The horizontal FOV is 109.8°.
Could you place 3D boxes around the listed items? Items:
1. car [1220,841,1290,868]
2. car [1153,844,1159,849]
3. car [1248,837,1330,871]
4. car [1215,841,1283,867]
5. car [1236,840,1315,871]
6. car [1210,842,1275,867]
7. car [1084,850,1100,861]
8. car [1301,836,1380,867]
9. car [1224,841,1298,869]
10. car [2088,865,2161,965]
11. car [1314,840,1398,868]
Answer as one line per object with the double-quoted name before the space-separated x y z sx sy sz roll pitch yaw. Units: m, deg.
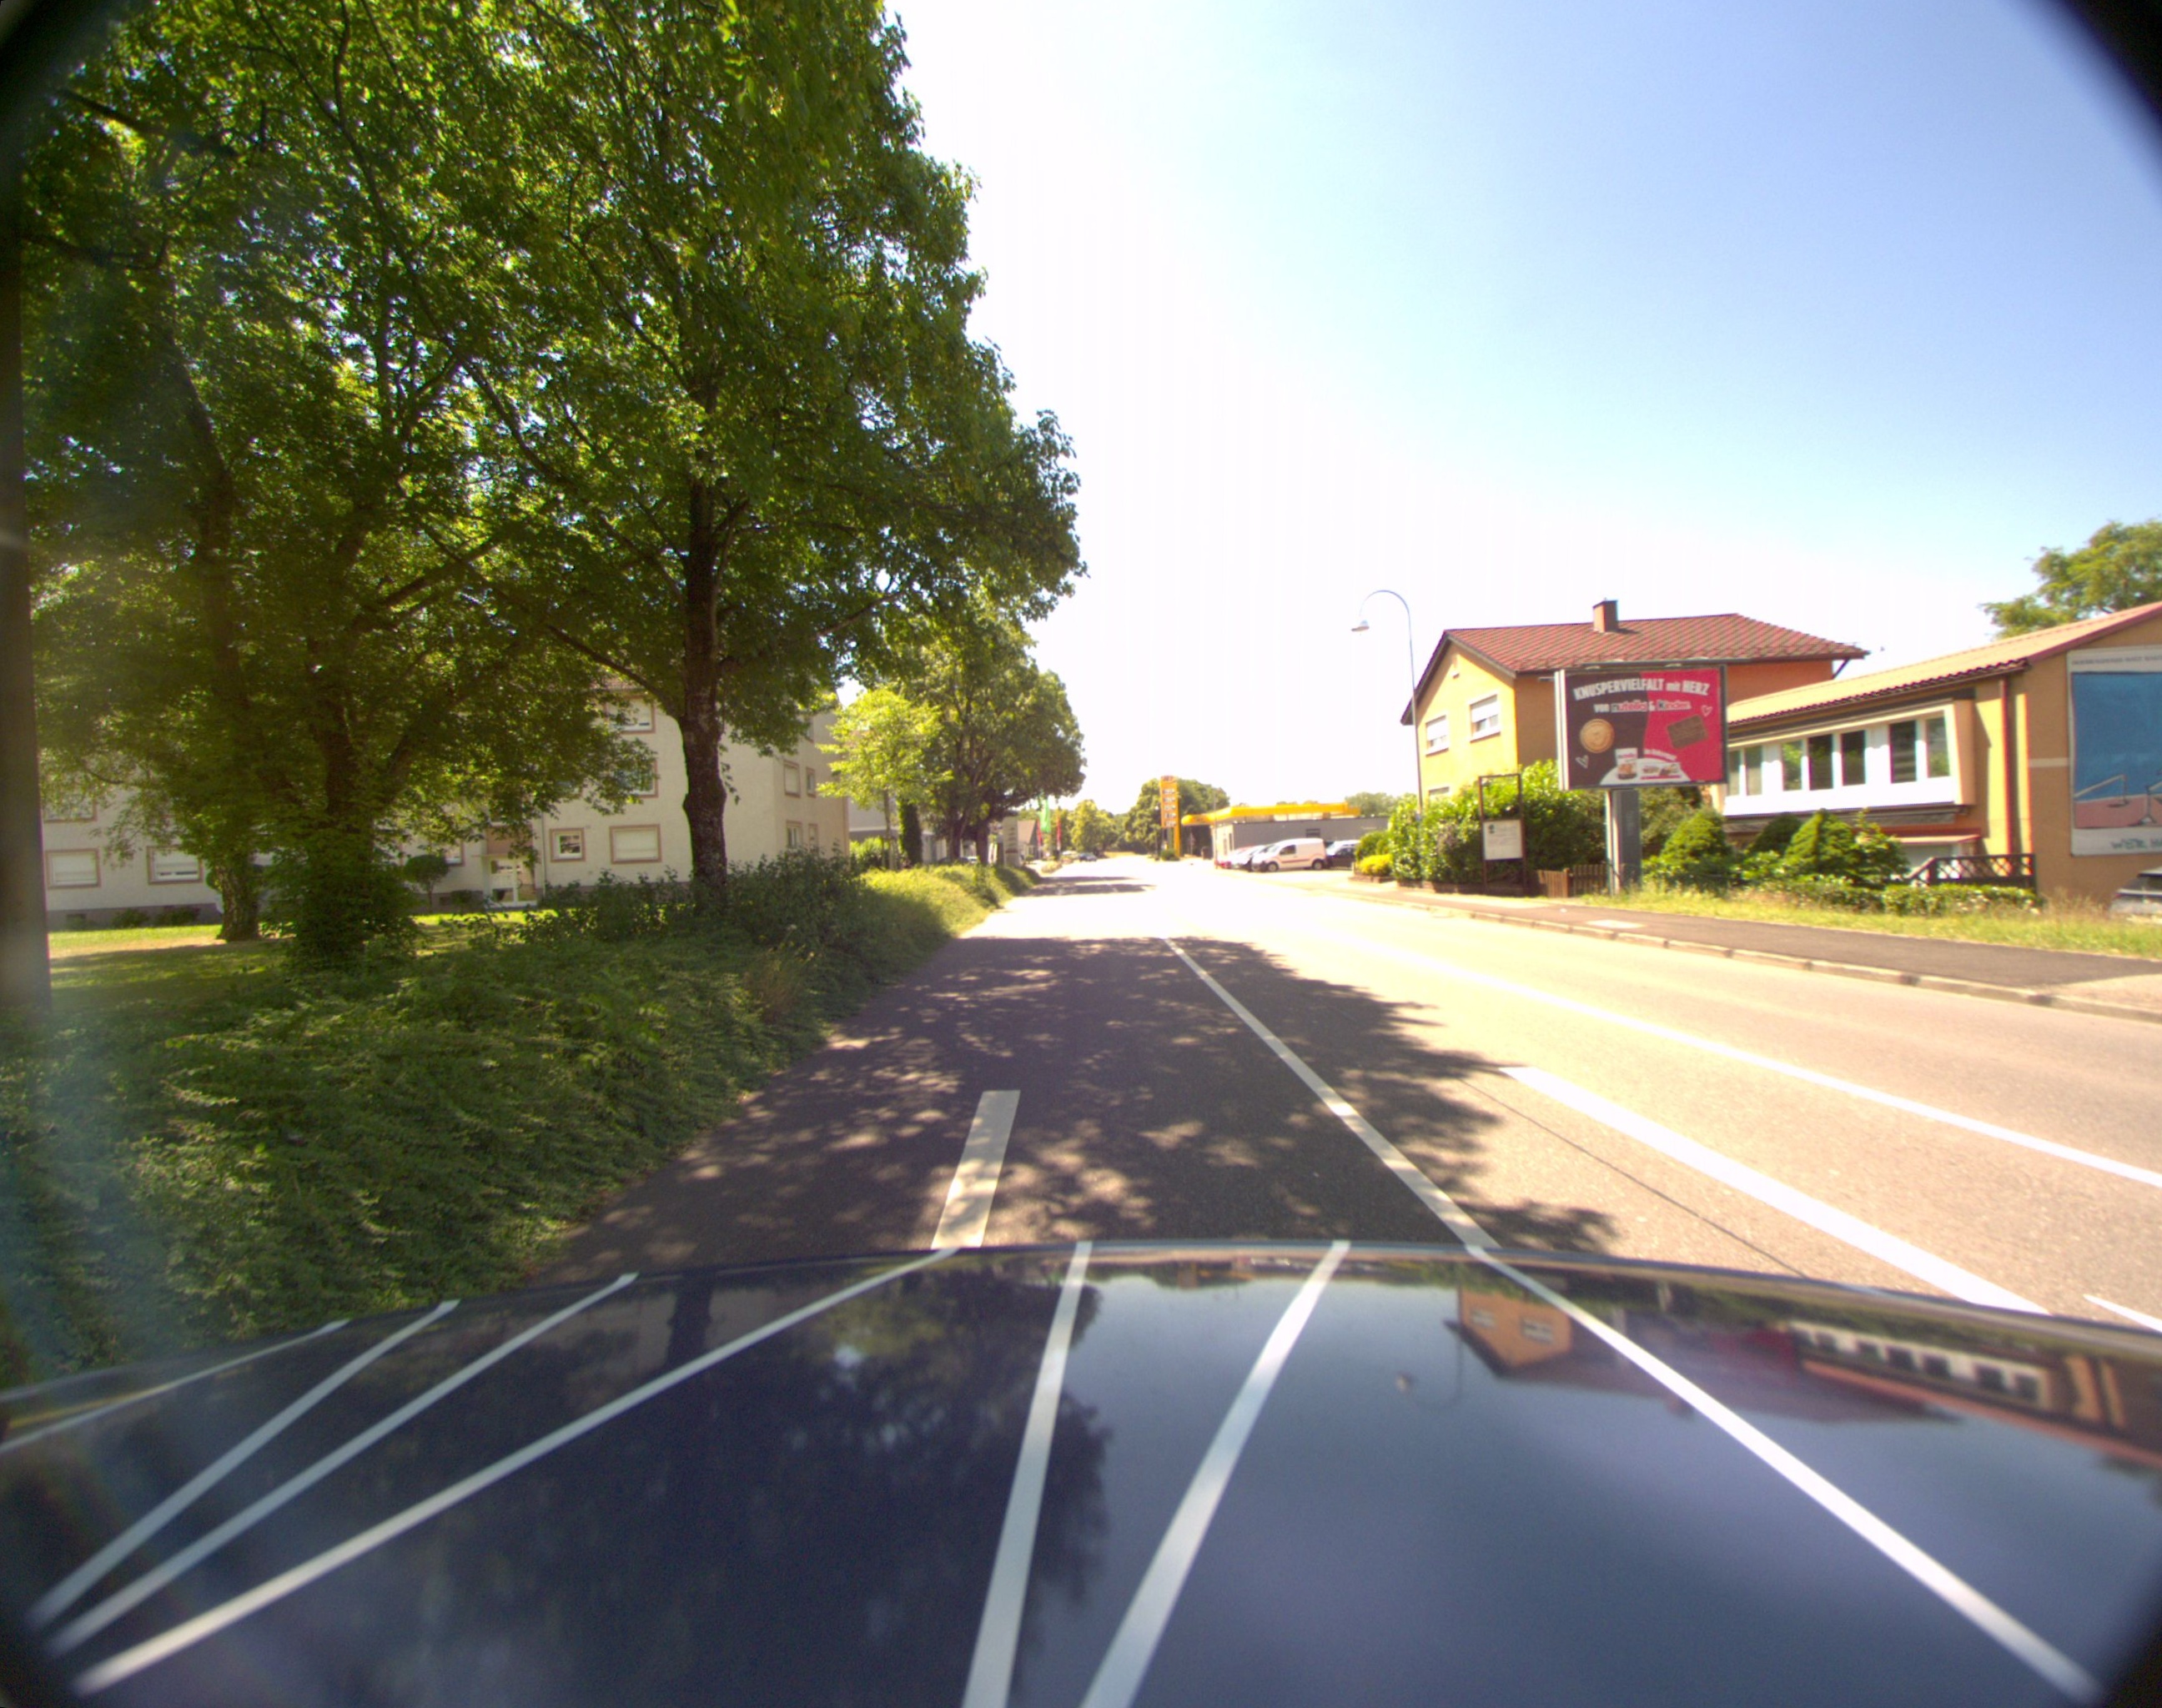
"car" 12.183 0.029 53.469 4.402 1.750 1.874 -2 1 -5
"car" 24.928 -2.350 252.732 1.808 1.552 4.065 -2 1 9
"car" 12.113 -0.004 44.411 4.191 1.858 1.874 -2 1 -5
"car" 12.244 0.008 55.487 4.402 1.750 1.874 -2 1 -5
"car" 11.851 0.056 46.477 4.246 1.750 1.874 -2 1 -5
"car" 12.302 0.044 58.017 4.402 1.750 1.874 -2 1 -5
"car" 1.656 0.189 115.657 1.772 1.521 4.127 -2 1 -7
"car" 16.553 -0.144 48.578 4.402 1.815 1.874 -2 1 -5
"car" 12.052 0.048 51.065 4.402 1.750 1.874 -2 1 -5
"car" 19.947 0.984 12.406 4.224 1.599 1.772 -1 1 7
"car" 16.748 -0.009 46.384 4.402 1.554 1.874 -2 1 -5
